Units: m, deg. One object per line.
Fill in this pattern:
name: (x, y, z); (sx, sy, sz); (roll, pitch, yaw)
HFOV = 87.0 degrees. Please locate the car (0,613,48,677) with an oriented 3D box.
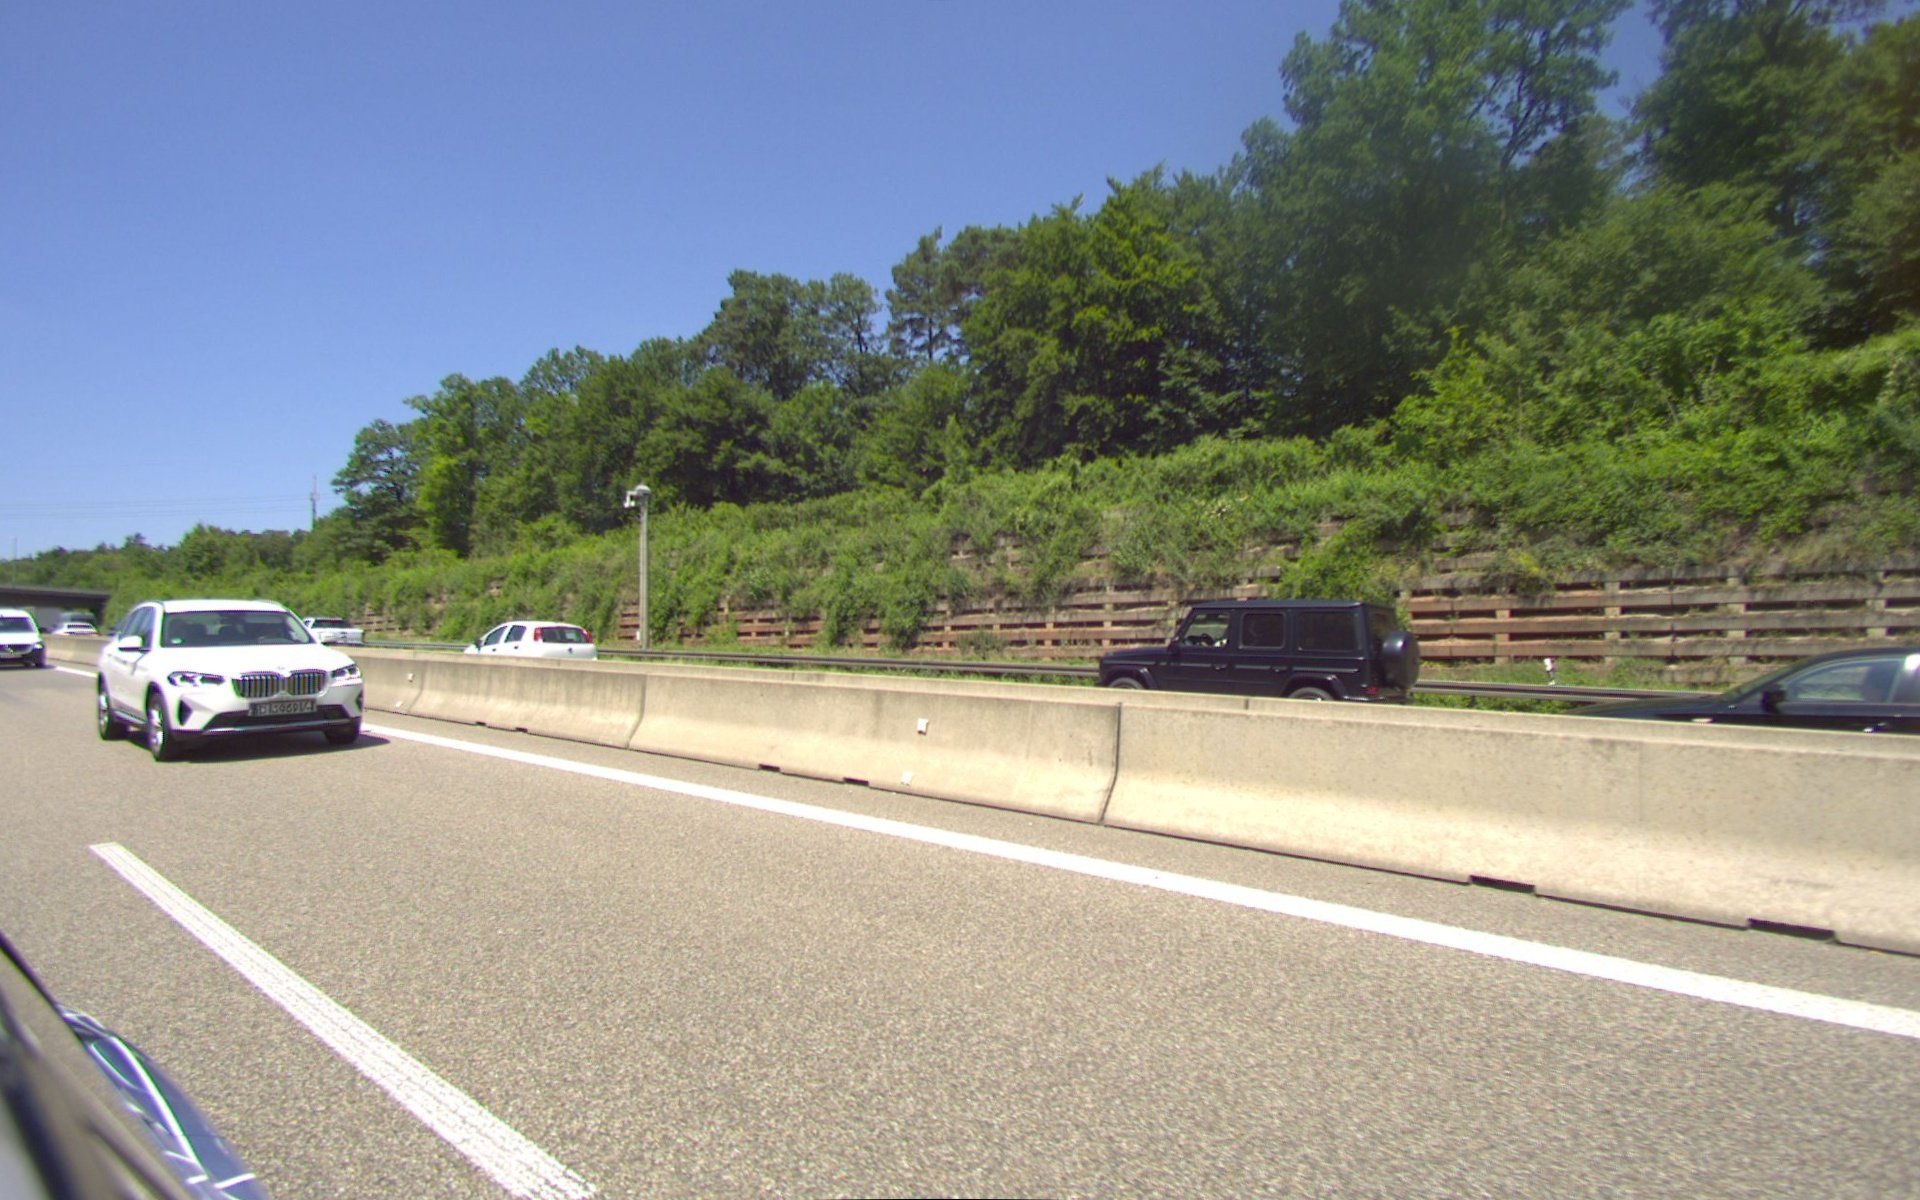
car: (-29.198, 1.332, 30.615); (4.501, 1.788, 1.972); (-1, 0, 43)

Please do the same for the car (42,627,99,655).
car: (-54.913, 2.520, 62.474); (5.223, 1.617, 1.919); (-1, -3, 41)

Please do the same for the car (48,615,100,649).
car: (-74.465, 2.676, 85.007); (7.134, 2.704, 2.216); (-2, -3, 41)

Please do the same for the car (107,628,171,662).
car: (-40.942, 2.232, 50.438); (4.301, 1.650, 1.735); (-1, -3, 41)

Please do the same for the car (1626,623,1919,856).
car: (7.502, 0.999, 7.508); (4.079, 1.617, 1.743); (-1, -3, 41)

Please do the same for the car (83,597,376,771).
car: (-8.621, 0.842, 11.793); (4.366, 1.656, 1.826); (-1, -1, 41)

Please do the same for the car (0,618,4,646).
car: (-96.408, 3.147, 99.973); (5.338, 2.704, 2.216); (-2, -3, 41)

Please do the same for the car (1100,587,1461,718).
car: (4.528, 0.725, 14.750); (4.654, 1.617, 1.919); (-1, -3, 41)

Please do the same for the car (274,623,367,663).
car: (-27.849, 1.860, 43.998); (5.646, 1.650, 1.863); (-1, -3, 41)

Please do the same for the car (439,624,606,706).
car: (-9.597, 1.363, 22.069); (4.056, 1.617, 1.728); (-1, -3, 41)

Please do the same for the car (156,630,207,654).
car: (-55.694, 3.000, 72.338); (4.857, 1.617, 1.919); (-1, -3, 41)

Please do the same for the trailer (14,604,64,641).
trailer: (-113.063, 2.739, 124.082); (14.177, 4.217, 2.904); (-1, 0, 41)
